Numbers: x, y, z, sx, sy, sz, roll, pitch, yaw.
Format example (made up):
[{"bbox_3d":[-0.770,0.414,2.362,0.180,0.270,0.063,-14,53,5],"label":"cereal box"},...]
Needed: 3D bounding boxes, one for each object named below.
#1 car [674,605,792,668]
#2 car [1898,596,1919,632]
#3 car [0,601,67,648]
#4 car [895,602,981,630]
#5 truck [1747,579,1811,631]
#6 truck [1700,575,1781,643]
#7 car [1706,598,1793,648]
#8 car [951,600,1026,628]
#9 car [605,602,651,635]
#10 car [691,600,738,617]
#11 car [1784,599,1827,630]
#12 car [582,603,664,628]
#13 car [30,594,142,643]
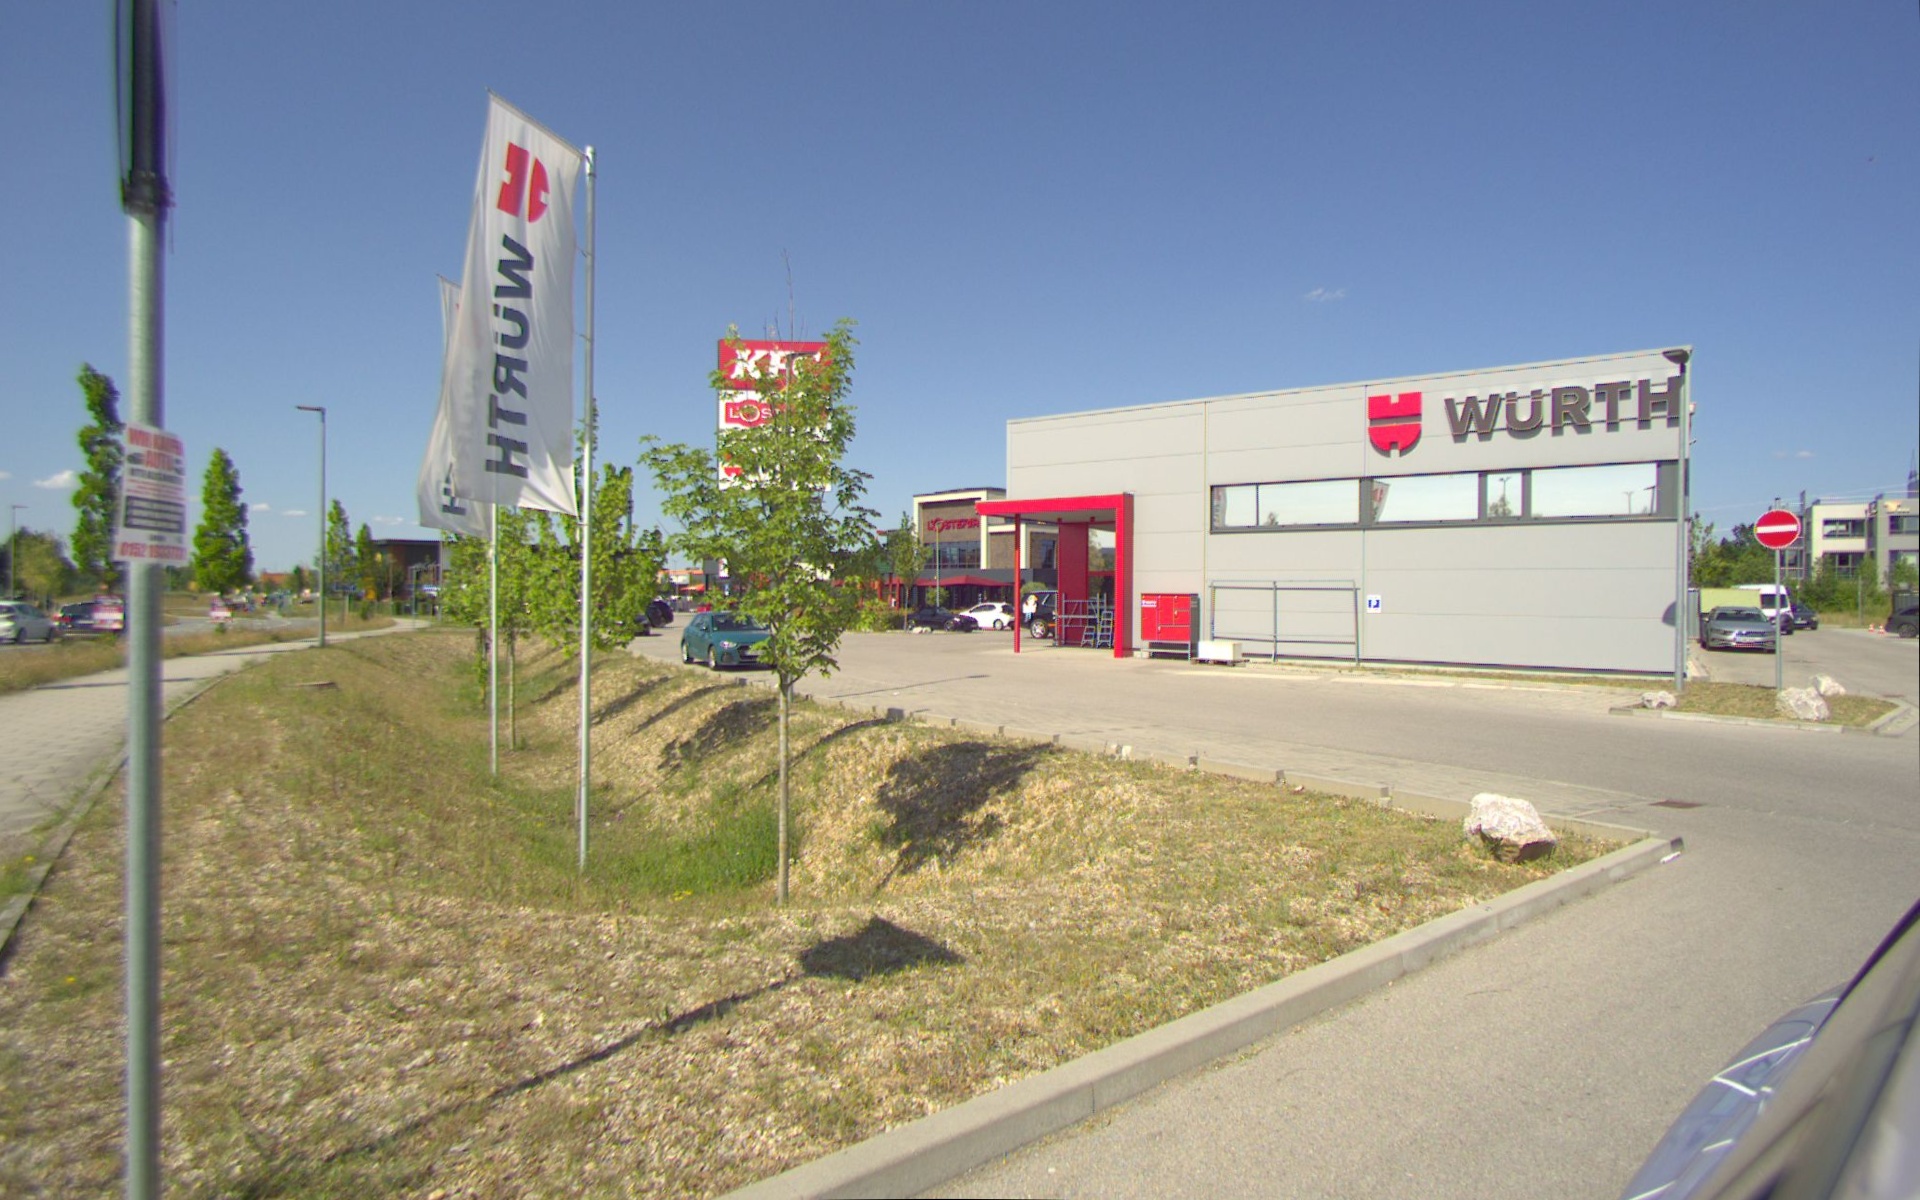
[{"bbox_3d":[-5.956,0.882,26.174,1.809,1.468,4.230,0,0,-30],"label":"car"},{"bbox_3d":[42.003,0.610,41.734,1.840,1.527,4.534,0,0,-19],"label":"car"},{"bbox_3d":[-33.755,0.831,35.847,1.907,1.571,4.769,-1,1,-25],"label":"car"},{"bbox_3d":[-1.156,0.807,51.543,4.126,1.355,1.808,0,0,34],"label":"car"},{"bbox_3d":[40.503,0.233,50.188,1.987,2.406,5.817,0,0,35],"label":"truck"},{"bbox_3d":[29.823,0.305,38.839,2.110,2.406,5.817,0,0,35],"label":"truck"},{"bbox_3d":[26.009,0.707,33.463,1.865,1.527,3.953,0,0,33],"label":"car"},{"bbox_3d":[1.546,0.764,55.513,3.895,1.493,1.777,0,0,40],"label":"car"},{"bbox_3d":[-15.895,0.855,48.368,1.839,1.484,4.372,0,0,-22],"label":"car"},{"bbox_3d":[-23.522,0.818,96.981,4.029,1.585,1.874,0,0,-44],"label":"car"},{"bbox_3d":[46.956,0.786,56.275,1.710,1.638,3.944,0,0,39],"label":"car"},{"bbox_3d":[-20.456,0.925,61.394,4.442,1.477,2.002,0,0,-28],"label":"car"},{"bbox_3d":[-29.893,0.580,34.766,1.875,1.571,4.395,-1,0,-26],"label":"car"}]
